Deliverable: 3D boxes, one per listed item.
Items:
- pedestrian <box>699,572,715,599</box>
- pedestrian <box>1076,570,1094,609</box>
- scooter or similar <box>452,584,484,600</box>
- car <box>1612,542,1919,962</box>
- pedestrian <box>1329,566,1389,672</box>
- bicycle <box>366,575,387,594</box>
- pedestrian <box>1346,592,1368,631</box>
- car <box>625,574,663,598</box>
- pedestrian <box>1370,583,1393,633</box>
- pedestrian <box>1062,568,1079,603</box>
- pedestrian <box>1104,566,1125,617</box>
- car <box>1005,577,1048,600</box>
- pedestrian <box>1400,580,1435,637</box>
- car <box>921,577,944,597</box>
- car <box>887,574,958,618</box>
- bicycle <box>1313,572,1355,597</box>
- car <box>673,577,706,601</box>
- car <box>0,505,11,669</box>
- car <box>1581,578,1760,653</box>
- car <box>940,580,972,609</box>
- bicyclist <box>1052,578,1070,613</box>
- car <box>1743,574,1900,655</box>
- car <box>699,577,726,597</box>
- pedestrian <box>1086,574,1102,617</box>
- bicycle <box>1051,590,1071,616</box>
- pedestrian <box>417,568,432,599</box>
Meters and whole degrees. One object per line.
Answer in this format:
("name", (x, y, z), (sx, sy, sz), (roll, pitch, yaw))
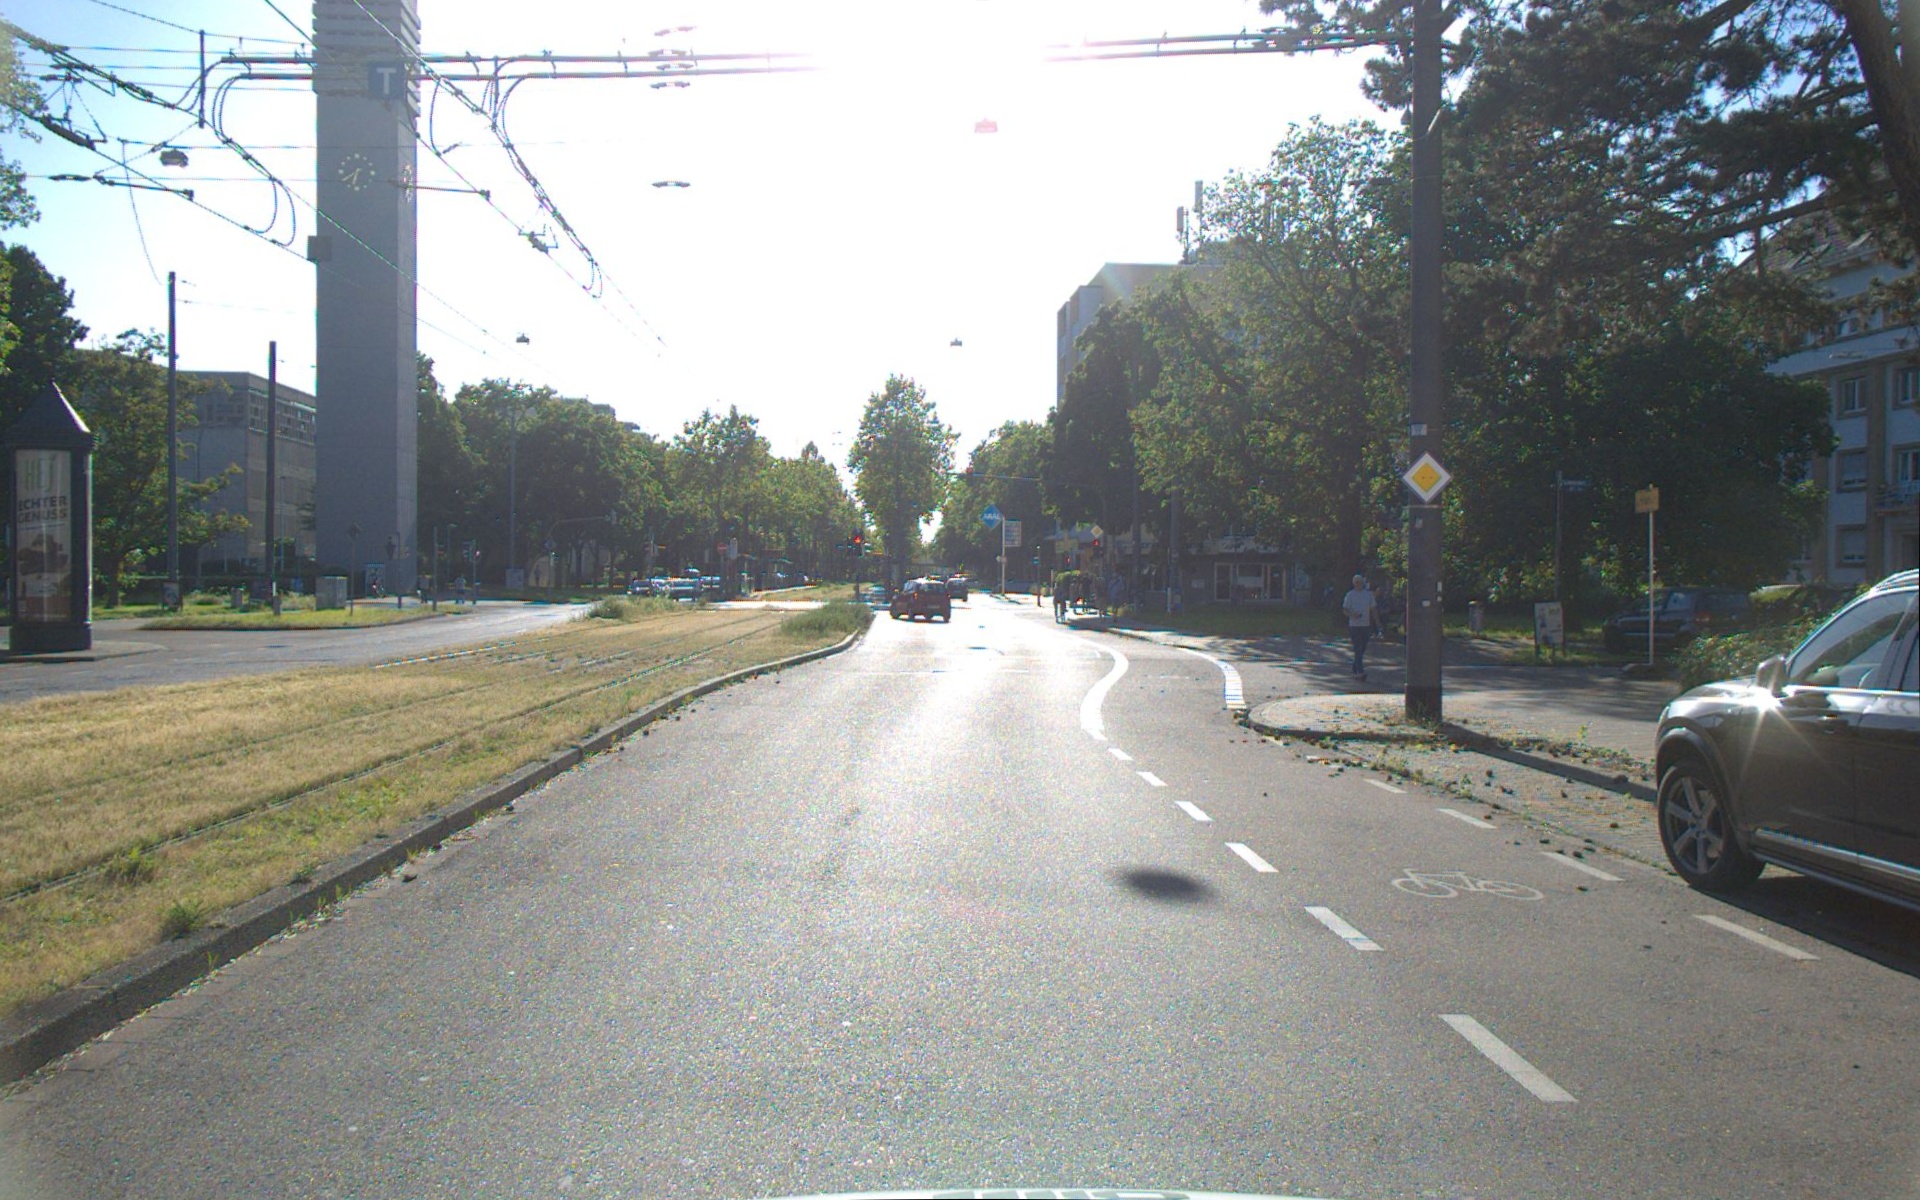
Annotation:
("pedestrian", (-15.827, -0.910, 103.534), (0.873, 1.634, 0.613), (3, 0, -2))
("pedestrian", (5.658, -0.487, 74.810), (0.714, 1.711, 0.533), (3, 0, 10))
("scooter or similar", (-27.757, -0.453, 93.349), (1.707, 0.915, 0.561), (0, 0, -18))
("car", (4.905, 0.596, 7.480), (1.841, 1.746, 4.933), (-3, 1, -1))
("pedestrian", (6.678, 0.308, 27.689), (0.862, 1.752, 0.725), (0, 1, 3))
("bicycle", (-34.292, -0.899, 97.244), (0.480, 1.064, 1.684), (3, 1, 5))
("pedestrian", (10.135, 0.300, 42.175), (0.395, 0.950, 0.623), (3, 3, 24))
("car", (-21.117, -0.960, 110.656), (1.770, 1.559, 4.359), (0, 1, -2))
("pedestrian", (10.732, 0.209, 42.122), (0.395, 1.247, 0.760), (3, 0, 24))
("pedestrian", (4.983, -0.669, 74.778), (0.633, 1.549, 0.496), (3, 0, 10))
("pedestrian", (5.626, -0.301, 60.421), (0.688, 1.821, 0.694), (-2, 1, 3))
("car", (6.202, -1.071, 153.904), (3.905, 1.892, 2.012), (3, 0, 2))
("pedestrian", (11.510, 0.218, 41.613), (0.671, 1.397, 0.755), (3, 0, 25))
("car", (-2.511, -1.200, 150.847), (1.856, 1.639, 4.498), (3, 1, -3))
("car", (-1.473, -0.185, 63.202), (1.668, 1.534, 3.680), (2, 1, -19))
("bicycle", (23.156, -0.965, 102.358), (2.421, 1.423, 0.608), (3, 0, -3))
("car", (-18.226, -0.766, 111.487), (1.653, 1.559, 4.359), (0, 1, -2))
("car", (-17.986, -0.224, 26.491), (1.991, 2.918, 6.227), (2, 1, -1))
("car", (15.180, 0.286, 35.557), (1.607, 1.520, 3.796), (-1, 1, -13))
("car", (-0.285, -0.379, 115.500), (1.929, 1.892, 3.998), (3, 1, -3))
("bicyclist", (3.953, -0.183, 64.695), (0.625, 1.346, 0.803), (3, 0, 0))
("car", (18.157, 0.269, 35.032), (1.421, 1.599, 3.810), (-1, 1, 2))
("car", (-18.642, -0.992, 124.648), (1.534, 1.426, 3.914), (3, 1, -2))
("pedestrian", (4.905, -0.151, 60.618), (0.518, 1.555, 0.628), (-1, 0, 3))
("bicycle", (3.943, 0.116, 64.681), (0.635, 0.989, 1.804), (3, 1, 1))
("pedestrian", (-30.000, -0.935, 92.597), (0.433, 1.695, 0.747), (3, 0, 8))
